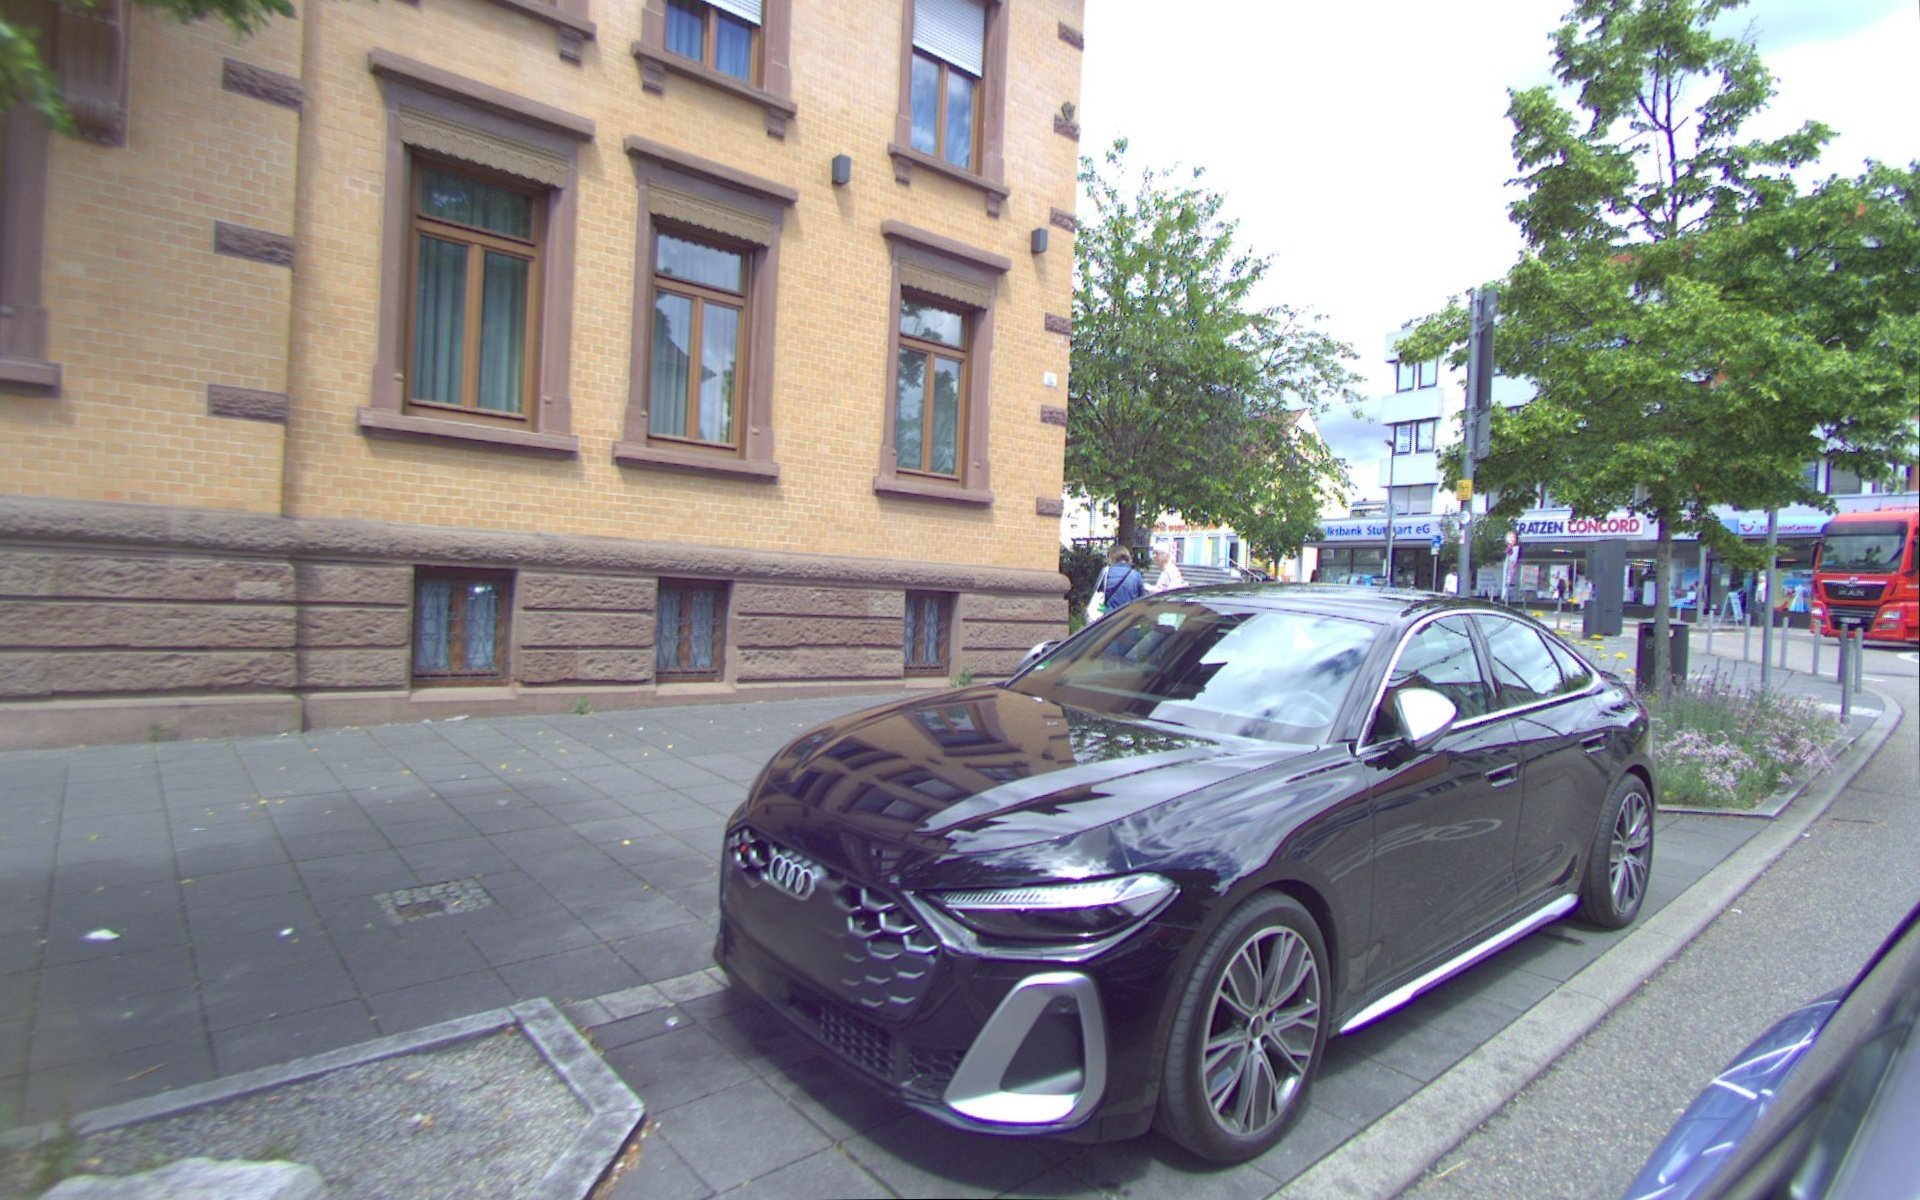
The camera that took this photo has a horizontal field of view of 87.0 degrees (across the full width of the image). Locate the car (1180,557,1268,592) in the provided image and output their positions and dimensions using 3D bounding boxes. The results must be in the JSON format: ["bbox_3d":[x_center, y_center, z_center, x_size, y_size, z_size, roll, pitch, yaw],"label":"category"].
[{"bbox_3d":[13.251,-1.243,51.042,1.961,1.672,4.001,1,0,-34],"label":"car"}]

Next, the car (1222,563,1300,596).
[{"bbox_3d":[20.025,-1.366,67.239,4.935,2.038,2.413,1,2,-35],"label":"car"}]

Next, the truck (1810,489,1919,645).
[{"bbox_3d":[29.019,-0.857,27.549,10.624,3.890,2.687,0,1,-9],"label":"truck"}]

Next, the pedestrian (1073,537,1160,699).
[{"bbox_3d":[1.650,0.177,10.772,0.661,1.660,0.742,0,1,-15],"label":"pedestrian"}]

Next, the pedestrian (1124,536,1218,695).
[{"bbox_3d":[2.314,0.153,11.136,0.725,1.679,0.699,0,1,-29],"label":"pedestrian"}]

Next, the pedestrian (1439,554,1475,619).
[{"bbox_3d":[13.744,-0.373,27.989,0.756,1.753,0.749,0,1,18],"label":"pedestrian"}]

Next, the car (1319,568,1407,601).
[{"bbox_3d":[20.204,-0.809,50.879,1.782,1.582,3.836,0,1,-29],"label":"car"}]

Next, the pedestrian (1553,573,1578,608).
[{"bbox_3d":[27.431,-0.433,45.856,0.751,1.603,0.686,0,1,-31],"label":"pedestrian"}]

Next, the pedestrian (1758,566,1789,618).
[{"bbox_3d":[30.707,-0.303,38.198,0.751,1.937,0.686,0,1,-31],"label":"pedestrian"}]

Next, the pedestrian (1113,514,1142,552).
[{"bbox_3d":[5.996,-2.387,36.205,0.749,1.342,0.695,0,1,-35],"label":"pedestrian"}]

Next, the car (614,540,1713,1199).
[{"bbox_3d":[1.236,0.565,4.201,4.652,1.431,1.998,0,2,-40],"label":"car"}]

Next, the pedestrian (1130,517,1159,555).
[{"bbox_3d":[6.721,-2.310,36.853,0.749,1.342,0.695,0,1,-35],"label":"pedestrian"}]
